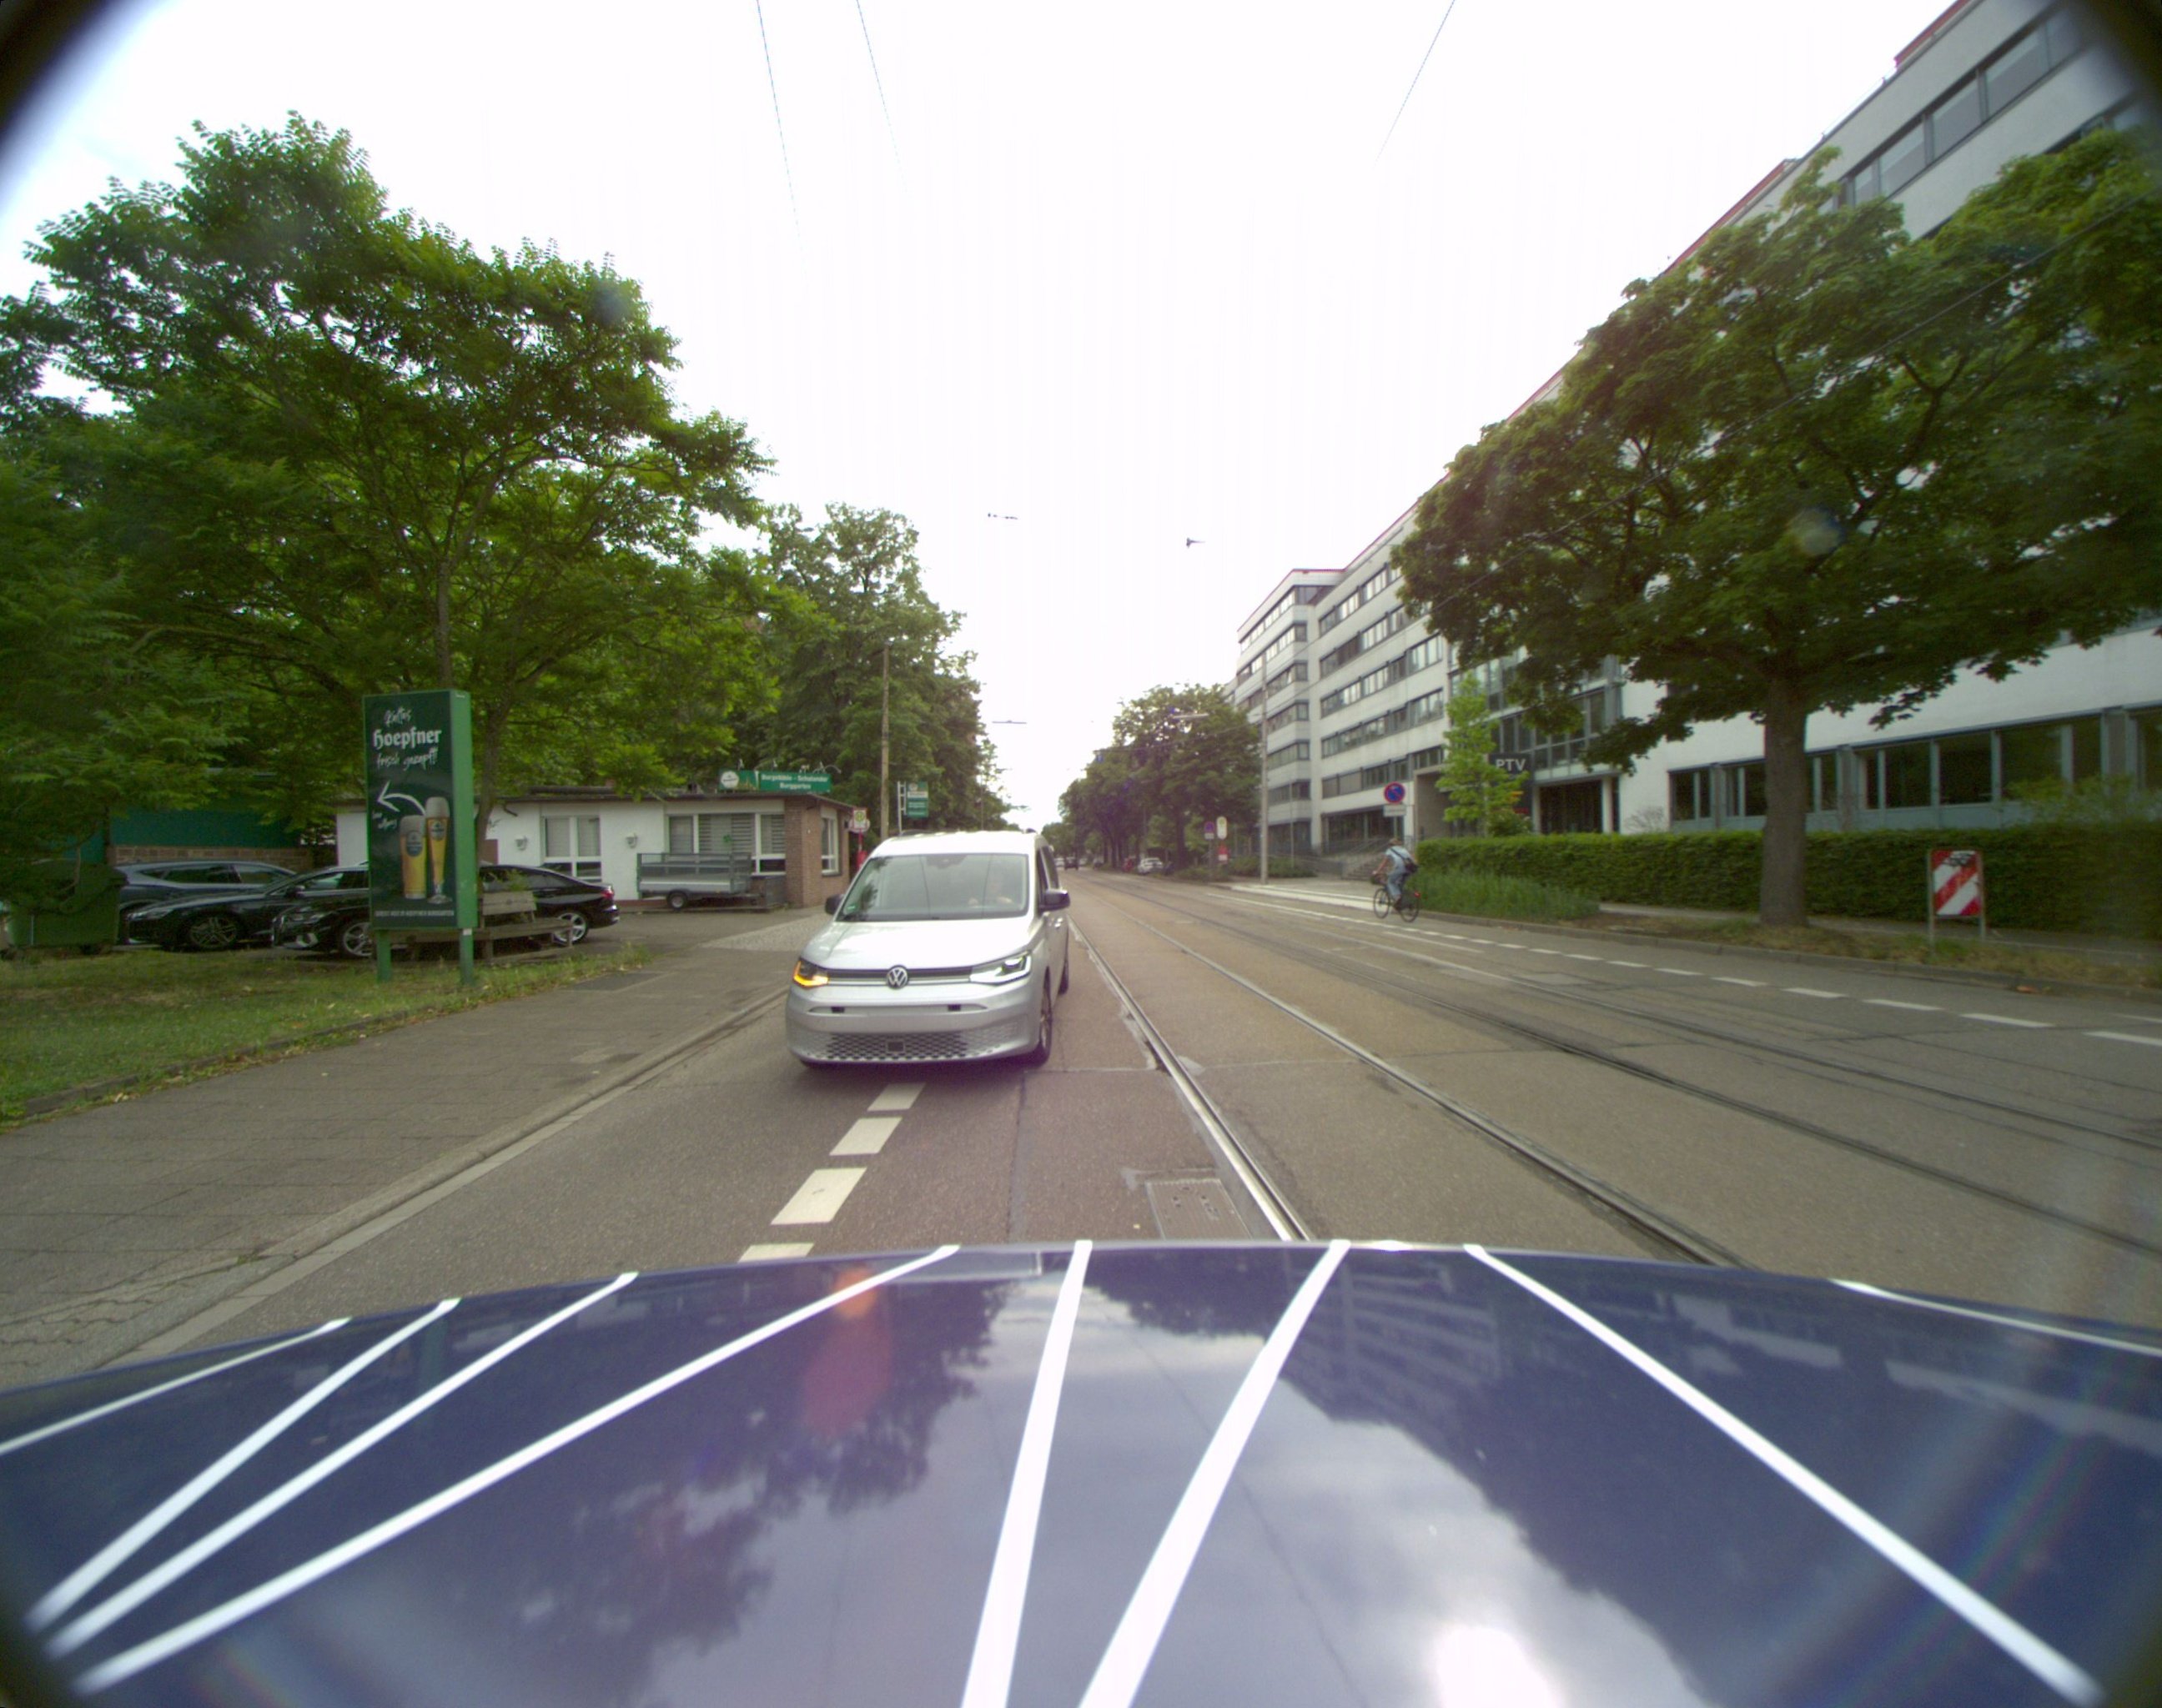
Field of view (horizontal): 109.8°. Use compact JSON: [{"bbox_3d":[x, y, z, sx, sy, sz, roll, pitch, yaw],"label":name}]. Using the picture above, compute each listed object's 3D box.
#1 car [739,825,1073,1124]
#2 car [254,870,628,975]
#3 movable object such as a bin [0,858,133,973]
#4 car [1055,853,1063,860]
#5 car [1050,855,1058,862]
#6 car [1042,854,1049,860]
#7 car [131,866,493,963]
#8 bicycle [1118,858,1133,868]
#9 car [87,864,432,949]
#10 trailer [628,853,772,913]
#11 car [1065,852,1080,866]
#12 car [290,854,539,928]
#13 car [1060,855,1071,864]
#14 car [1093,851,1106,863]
[{"bbox_3d":[-1.087,0.744,7.066,1.850,1.796,4.937,-1,0,1],"label":"car"},{"bbox_3d":[-10.575,0.996,12.882,1.929,1.399,4.594,0,-1,41],"label":"car"},{"bbox_3d":[-14.380,0.848,10.749,1.418,1.504,1.127,-2,-4,38],"label":"movable object such as a bin"},{"bbox_3d":[-4.670,0.570,160.767,1.753,1.477,4.062,0,-1,-3],"label":"car"},{"bbox_3d":[-6.740,1.059,191.340,1.847,1.644,4.388,1,0,-3],"label":"car"},{"bbox_3d":[-10.013,0.884,216.198,1.746,1.490,4.259,-1,0,-5],"label":"car"},{"bbox_3d":[-14.031,0.969,14.145,1.872,1.419,4.552,2,1,39],"label":"car"},{"bbox_3d":[4.972,0.997,85.417,1.475,1.085,0.616,-3,1,-16],"label":"bicycle"},{"bbox_3d":[-16.240,0.938,15.287,1.980,1.450,4.501,-1,-1,36],"label":"car"},{"bbox_3d":[-10.531,0.770,21.171,3.170,1.530,1.620,-1,1,-2],"label":"trailer"},{"bbox_3d":[-1.115,0.683,102.440,1.832,1.727,4.333,-1,1,-3],"label":"car"},{"bbox_3d":[-16.427,0.868,18.906,4.434,1.637,1.991,-1,1,2],"label":"car"},{"bbox_3d":[-2.814,0.908,135.320,1.708,1.521,3.740,-2,1,-5],"label":"car"},{"bbox_3d":[2.864,0.515,116.347,1.815,1.699,3.999,-3,1,0],"label":"car"}]
